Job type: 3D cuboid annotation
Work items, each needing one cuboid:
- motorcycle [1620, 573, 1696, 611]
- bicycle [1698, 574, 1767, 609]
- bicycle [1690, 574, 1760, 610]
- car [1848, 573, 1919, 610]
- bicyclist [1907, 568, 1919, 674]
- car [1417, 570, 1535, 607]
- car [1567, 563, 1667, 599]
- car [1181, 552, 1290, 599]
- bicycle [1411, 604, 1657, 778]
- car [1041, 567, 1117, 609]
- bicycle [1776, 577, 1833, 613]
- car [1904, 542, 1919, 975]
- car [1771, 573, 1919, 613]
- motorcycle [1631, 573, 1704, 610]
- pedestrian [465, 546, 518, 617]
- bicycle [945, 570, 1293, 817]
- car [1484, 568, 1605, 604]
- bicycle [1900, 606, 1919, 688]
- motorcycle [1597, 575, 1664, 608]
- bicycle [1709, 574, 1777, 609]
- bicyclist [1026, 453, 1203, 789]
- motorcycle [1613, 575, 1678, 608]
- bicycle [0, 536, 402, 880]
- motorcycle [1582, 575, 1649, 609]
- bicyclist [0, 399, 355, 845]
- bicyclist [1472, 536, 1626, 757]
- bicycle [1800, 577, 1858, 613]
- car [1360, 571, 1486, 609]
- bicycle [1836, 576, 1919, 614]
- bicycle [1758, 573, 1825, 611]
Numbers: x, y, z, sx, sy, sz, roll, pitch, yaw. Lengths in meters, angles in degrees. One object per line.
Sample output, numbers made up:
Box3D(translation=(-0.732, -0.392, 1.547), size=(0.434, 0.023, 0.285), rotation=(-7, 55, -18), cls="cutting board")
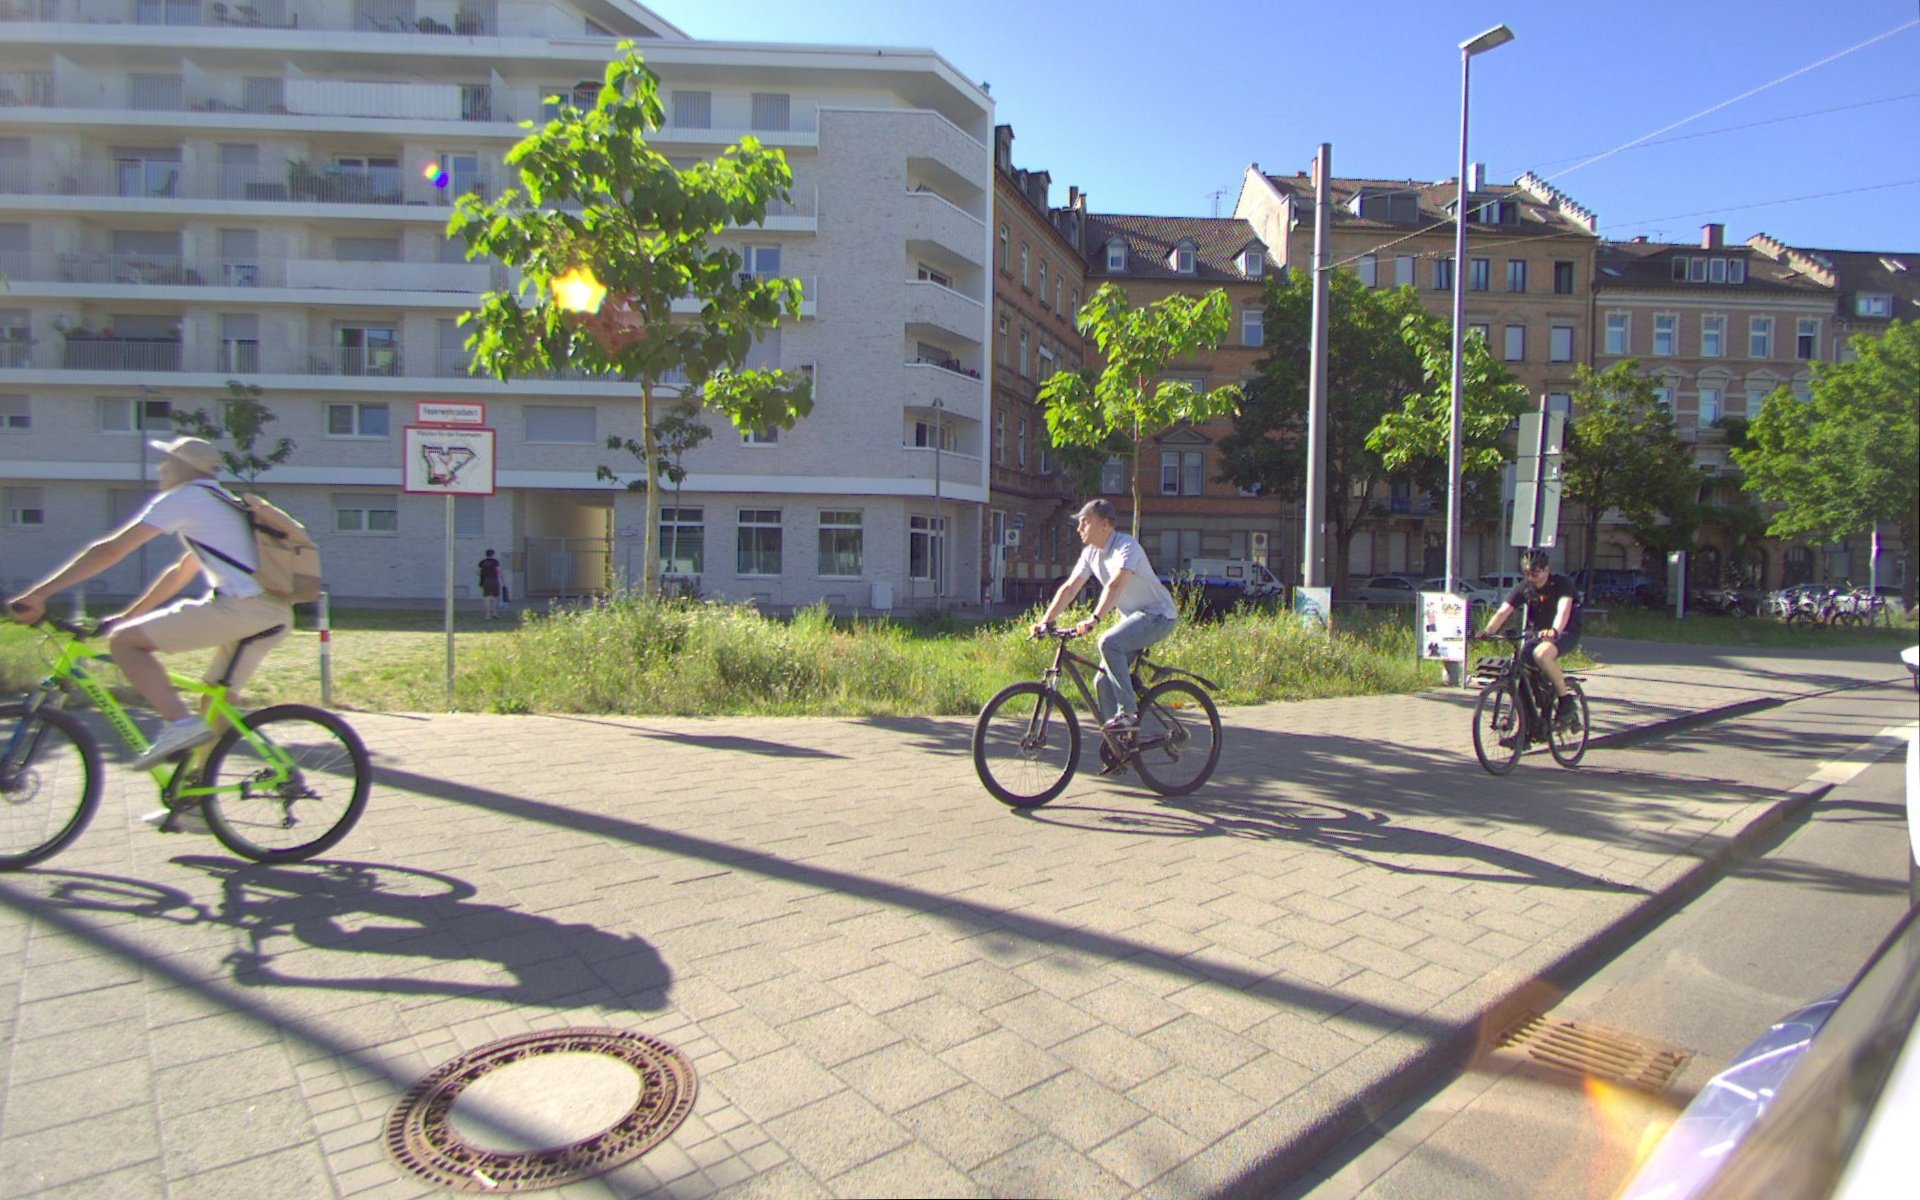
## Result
Box3D(translation=(25.338, -0.304, 36.782), size=(0.650, 1.347, 2.207), rotation=(0, 0, -28), cls="motorcycle")
Box3D(translation=(29.080, -0.317, 38.154), size=(0.649, 1.284, 2.208), rotation=(0, 0, -9), cls="bicycle")
Box3D(translation=(28.369, -0.307, 37.567), size=(0.649, 1.284, 2.208), rotation=(0, 0, -11), cls="bicycle")
Box3D(translation=(37.822, -0.325, 39.964), size=(1.649, 1.423, 3.832), rotation=(-1, 3, -32), cls="car")
Box3D(translation=(15.445, 0.327, 15.884), size=(0.953, 1.649, 0.669), rotation=(0, 1, -37), cls="bicyclist")
Box3D(translation=(19.672, -0.466, 38.720), size=(1.648, 1.267, 3.709), rotation=(0, 3, -28), cls="car")
Box3D(translation=(30.875, -0.918, 47.652), size=(3.631, 1.607, 1.552), rotation=(1, 2, 0), cls="car")
Box3D(translation=(12.660, -1.154, 46.785), size=(4.416, 2.062, 2.054), rotation=(1, 2, 0), cls="car")
Box3D(translation=(4.543, 0.652, 7.964), size=(2.110, 1.212, 0.639), rotation=(0, 1, -28), cls="bicycle")
Box3D(translation=(4.566, -0.505, 38.300), size=(1.811, 1.444, 4.359), rotation=(1, 2, 21), cls="car")
Box3D(translation=(30.940, -0.182, 37.112), size=(0.653, 1.284, 2.196), rotation=(0, 0, 12), cls="bicycle")
Box3D(translation=(5.868, 0.610, 4.718), size=(4.323, 1.667, 1.840), rotation=(0, 0, -43), cls="car")
Box3D(translation=(34.685, -0.317, 39.594), size=(1.651, 1.423, 4.324), rotation=(-1, 3, -38), cls="car")
Box3D(translation=(26.154, -0.318, 37.470), size=(0.649, 1.339, 2.208), rotation=(0, 0, -23), cls="motorcycle")
Box3D(translation=(-11.730, -0.483, 25.369), size=(0.829, 1.717, 0.985), rotation=(2, 2, 2), cls="pedestrian")
Box3D(translation=(1.013, 0.474, 6.252), size=(2.111, 1.317, 0.760), rotation=(-1, 2, -29), cls="bicycle")
Box3D(translation=(22.328, -0.576, 38.775), size=(1.513, 1.267, 3.700), rotation=(-1, 3, -39), cls="car")
Box3D(translation=(15.448, 0.717, 15.882), size=(2.115, 1.212, 0.669), rotation=(0, 1, -38), cls="bicycle")
Box3D(translation=(26.697, -0.334, 40.359), size=(0.649, 1.300, 2.324), rotation=(0, 0, -18), cls="motorcycle")
Box3D(translation=(29.723, -0.323, 38.465), size=(0.649, 1.284, 2.208), rotation=(0, 0, -9), cls="bicycle")
Box3D(translation=(0.933, 0.100, 6.207), size=(0.734, 1.889, 0.811), rotation=(-1, 2, -28), cls="bicyclist")
Box3D(translation=(27.487, -0.332, 40.613), size=(0.649, 1.284, 2.209), rotation=(0, 0, -18), cls="motorcycle")
Box3D(translation=(-3.485, 0.419, 4.411), size=(1.712, 1.343, 0.718), rotation=(1, 2, -17), cls="bicycle")
Box3D(translation=(26.026, -0.326, 40.227), size=(0.649, 1.293, 2.324), rotation=(0, 0, -18), cls="motorcycle")
Box3D(translation=(-3.371, 0.084, 4.434), size=(1.071, 1.747, 0.718), rotation=(1, 2, -16), cls="bicyclist")
Box3D(translation=(4.686, 0.340, 8.054), size=(0.952, 1.649, 0.632), rotation=(0, 1, -29), cls="bicyclist")
Box3D(translation=(32.034, -0.190, 37.336), size=(0.653, 1.284, 2.196), rotation=(0, 0, 12), cls="bicycle")
Box3D(translation=(17.348, -0.420, 38.109), size=(1.648, 1.267, 4.170), rotation=(0, 3, -28), cls="car")
Box3D(translation=(31.629, -0.163, 34.765), size=(2.180, 1.284, 0.657), rotation=(0, 0, 25), cls="bicycle")
Box3D(translation=(29.273, -0.289, 35.675), size=(0.651, 1.284, 2.202), rotation=(0, 0, 4), cls="bicycle")
